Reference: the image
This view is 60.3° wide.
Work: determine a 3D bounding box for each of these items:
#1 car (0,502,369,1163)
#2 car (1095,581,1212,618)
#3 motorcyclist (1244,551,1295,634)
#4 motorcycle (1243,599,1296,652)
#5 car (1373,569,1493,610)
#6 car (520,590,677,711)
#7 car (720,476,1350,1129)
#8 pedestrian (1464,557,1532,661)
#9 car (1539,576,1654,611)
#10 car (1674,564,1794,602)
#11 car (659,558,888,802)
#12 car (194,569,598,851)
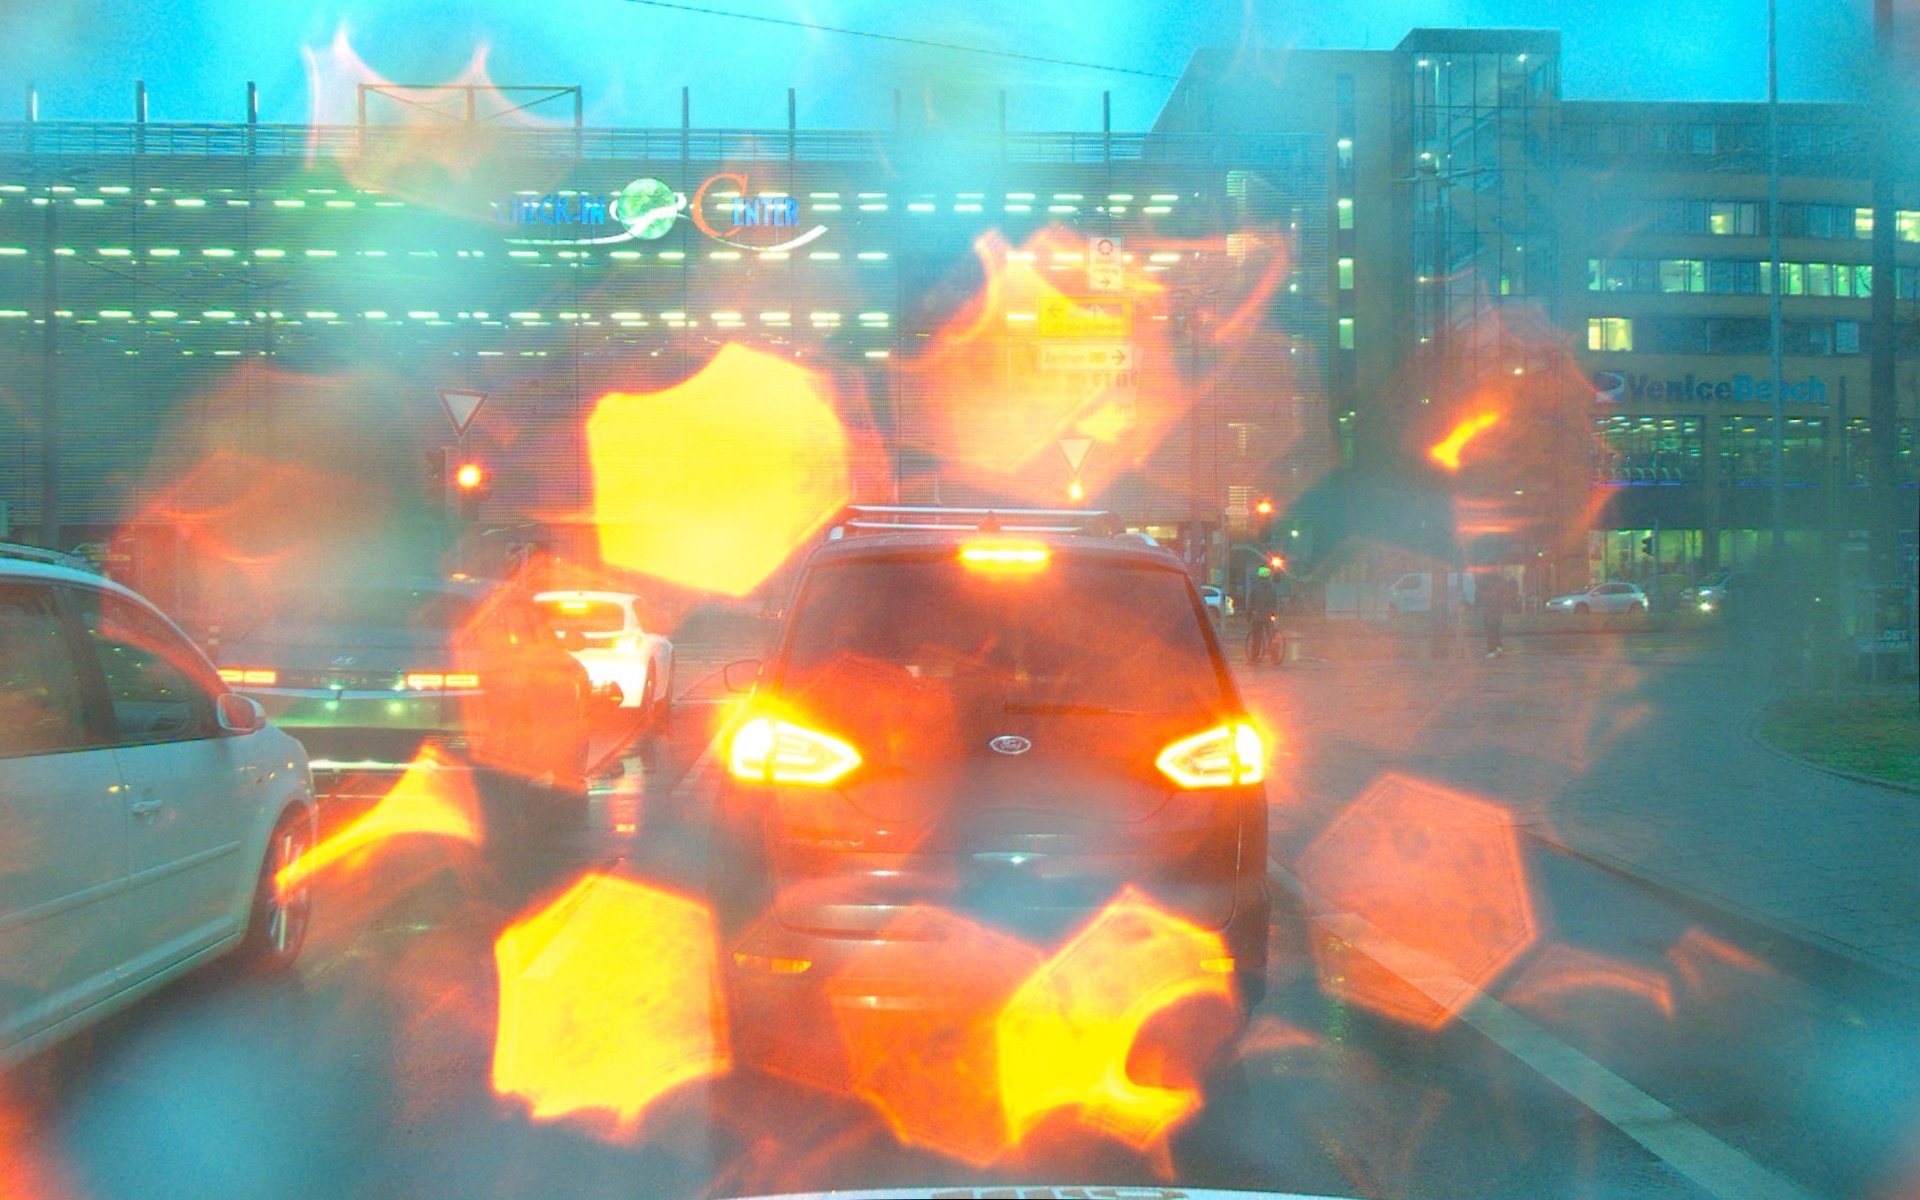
[{"bbox_3d":[-3.289,0.557,5.024,1.637,1.689,4.146,2,1,-3],"label":"car"},{"bbox_3d":[7.714,-0.018,66.101,4.336,1.414,1.797,-1,0,-8],"label":"car"},{"bbox_3d":[5.929,-0.138,31.747,0.850,1.561,1.109,0,0,5],"label":"motorcyclist"},{"bbox_3d":[5.927,0.473,31.733,0.835,0.989,1.582,0,0,5],"label":"motorcycle"},{"bbox_3d":[19.190,-0.419,67.217,4.336,1.623,1.797,-1,0,-8],"label":"car"},{"bbox_3d":[-4.151,0.521,19.445,1.512,1.273,4.060,0,0,-8],"label":"car"},{"bbox_3d":[0.110,0.553,6.711,1.700,1.768,4.244,2,0,-3],"label":"car"},{"bbox_3d":[10.563,0.166,32.444,1.146,1.957,0.898,2,0,22],"label":"pedestrian"},{"bbox_3d":[26.425,-0.288,68.726,4.136,1.414,1.797,-1,0,-8],"label":"car"},{"bbox_3d":[32.757,-0.716,70.050,4.348,1.561,1.797,-1,0,-8],"label":"car"},{"bbox_3d":[-1.484,0.575,13.624,1.604,1.726,3.667,1,0,-5],"label":"car"},{"bbox_3d":[-3.675,0.619,11.514,1.718,1.601,3.996,0,0,-5],"label":"car"}]
